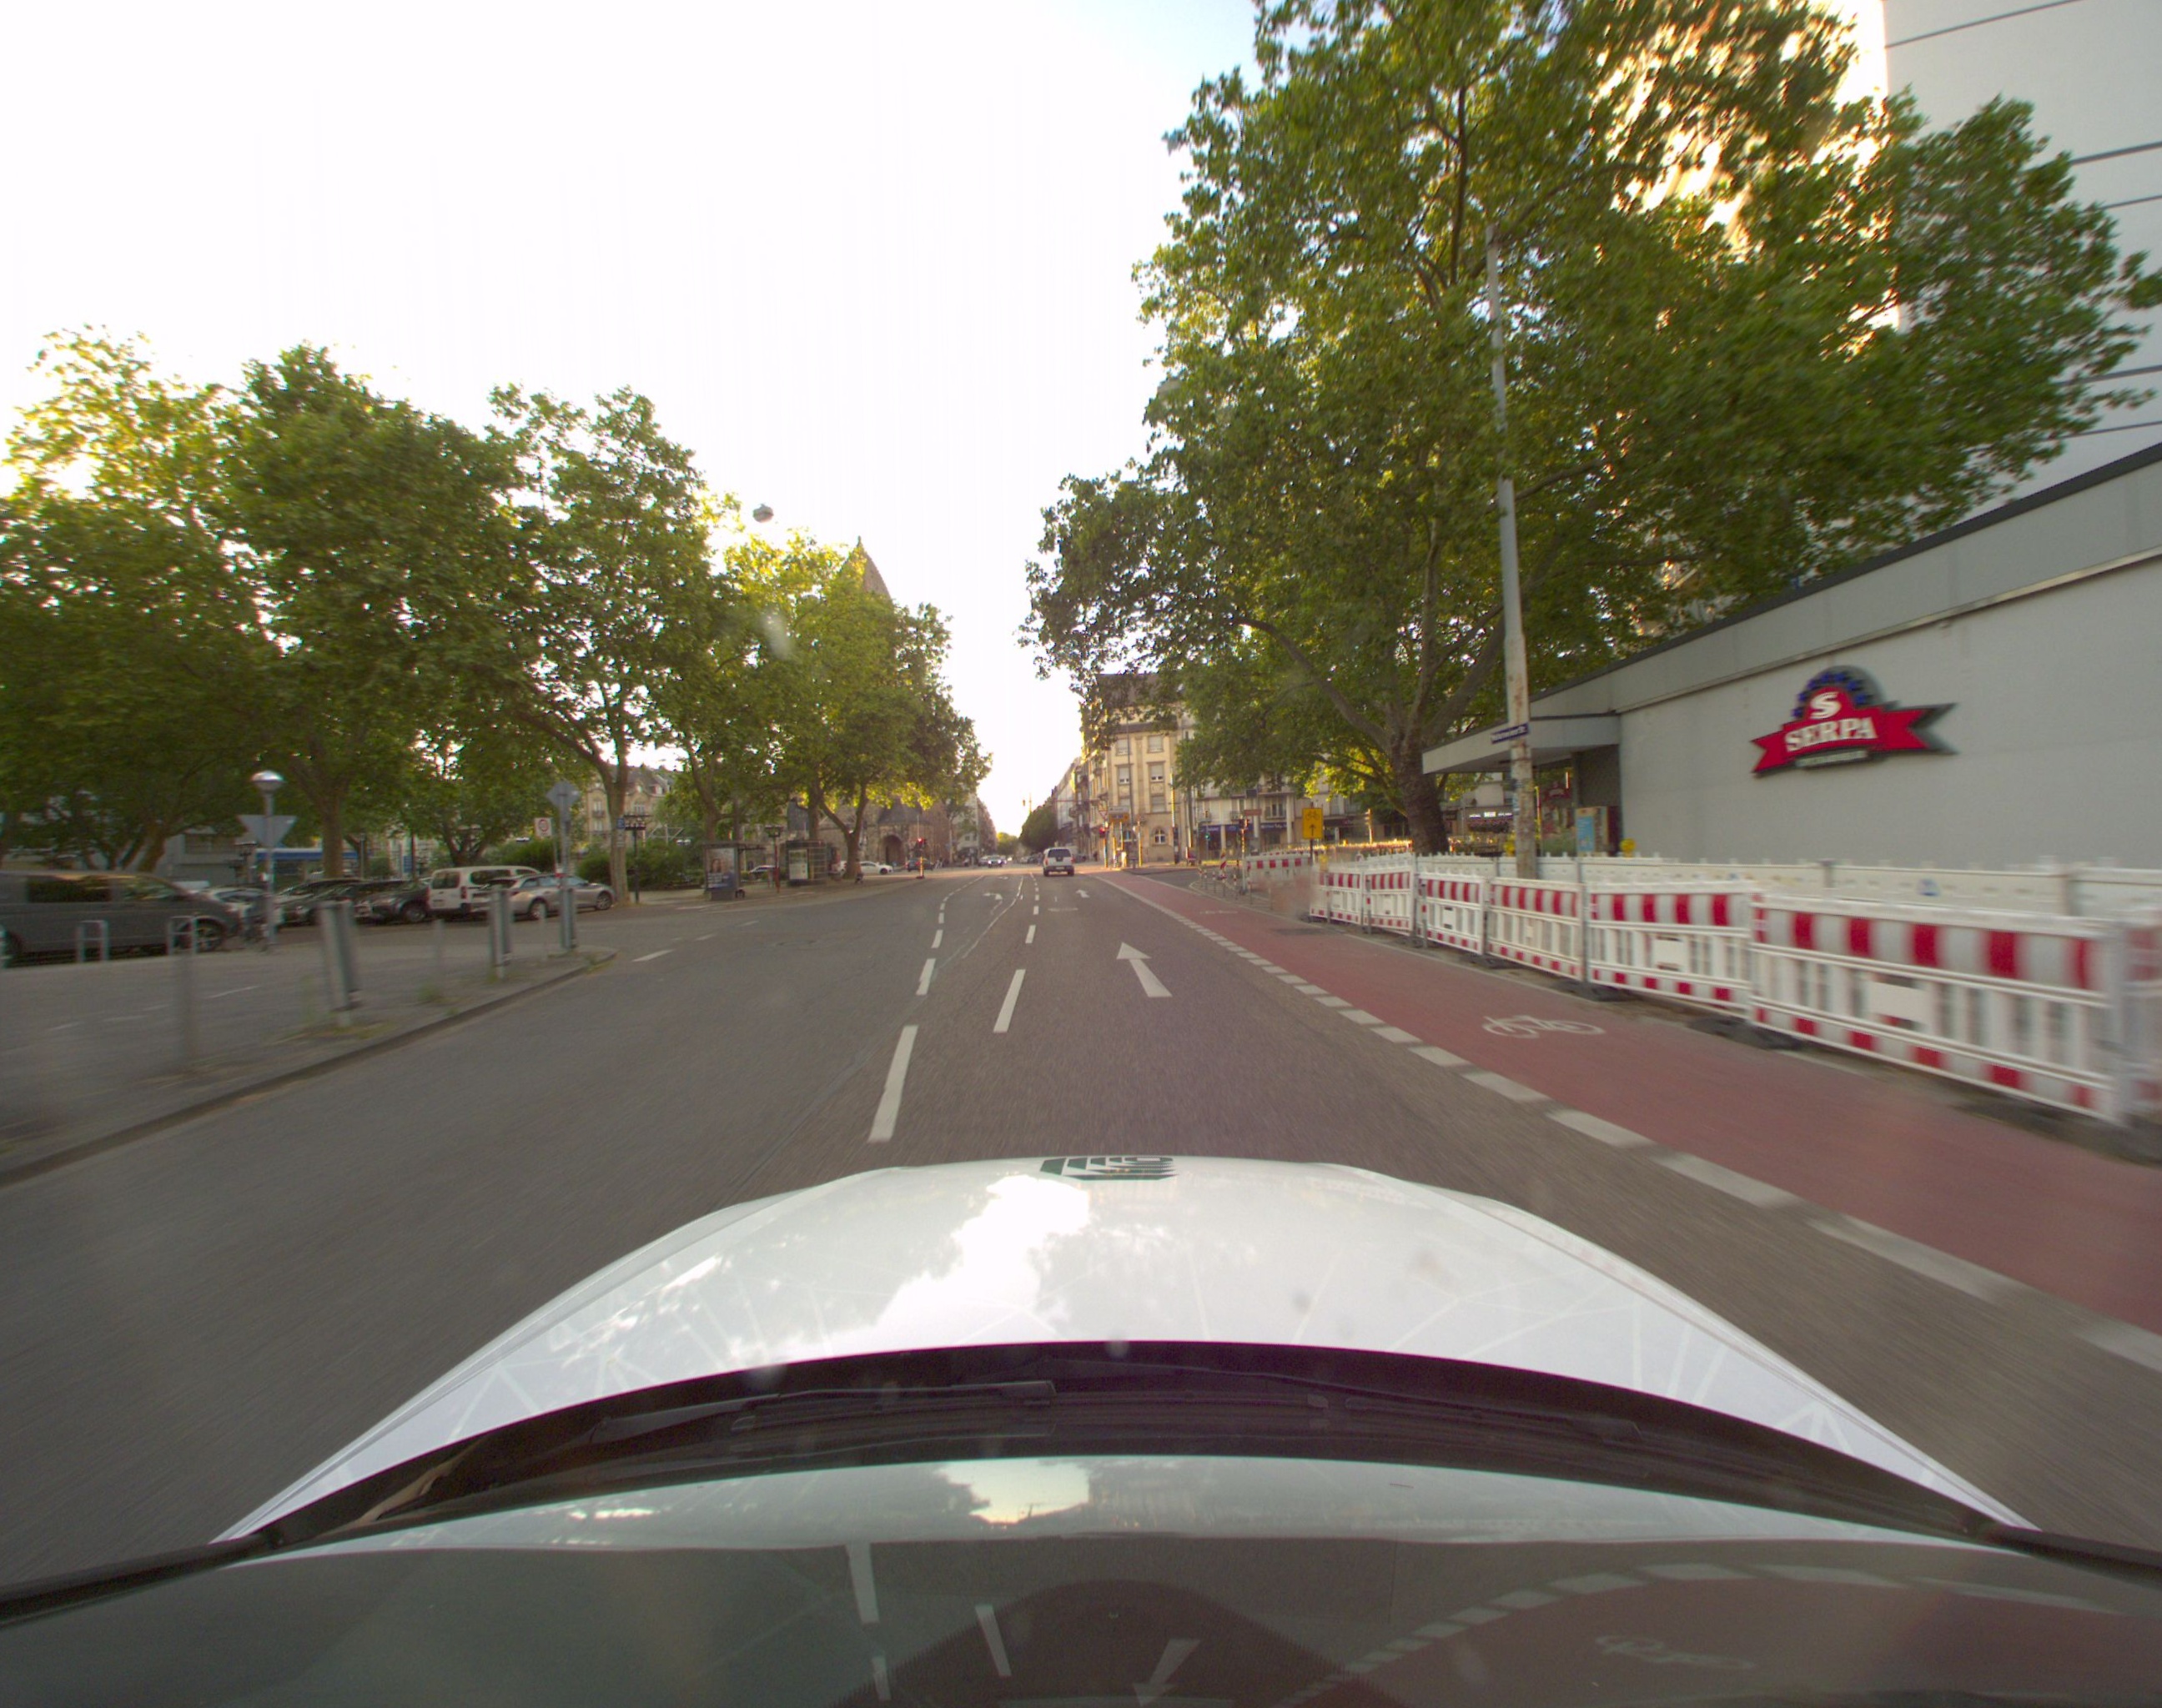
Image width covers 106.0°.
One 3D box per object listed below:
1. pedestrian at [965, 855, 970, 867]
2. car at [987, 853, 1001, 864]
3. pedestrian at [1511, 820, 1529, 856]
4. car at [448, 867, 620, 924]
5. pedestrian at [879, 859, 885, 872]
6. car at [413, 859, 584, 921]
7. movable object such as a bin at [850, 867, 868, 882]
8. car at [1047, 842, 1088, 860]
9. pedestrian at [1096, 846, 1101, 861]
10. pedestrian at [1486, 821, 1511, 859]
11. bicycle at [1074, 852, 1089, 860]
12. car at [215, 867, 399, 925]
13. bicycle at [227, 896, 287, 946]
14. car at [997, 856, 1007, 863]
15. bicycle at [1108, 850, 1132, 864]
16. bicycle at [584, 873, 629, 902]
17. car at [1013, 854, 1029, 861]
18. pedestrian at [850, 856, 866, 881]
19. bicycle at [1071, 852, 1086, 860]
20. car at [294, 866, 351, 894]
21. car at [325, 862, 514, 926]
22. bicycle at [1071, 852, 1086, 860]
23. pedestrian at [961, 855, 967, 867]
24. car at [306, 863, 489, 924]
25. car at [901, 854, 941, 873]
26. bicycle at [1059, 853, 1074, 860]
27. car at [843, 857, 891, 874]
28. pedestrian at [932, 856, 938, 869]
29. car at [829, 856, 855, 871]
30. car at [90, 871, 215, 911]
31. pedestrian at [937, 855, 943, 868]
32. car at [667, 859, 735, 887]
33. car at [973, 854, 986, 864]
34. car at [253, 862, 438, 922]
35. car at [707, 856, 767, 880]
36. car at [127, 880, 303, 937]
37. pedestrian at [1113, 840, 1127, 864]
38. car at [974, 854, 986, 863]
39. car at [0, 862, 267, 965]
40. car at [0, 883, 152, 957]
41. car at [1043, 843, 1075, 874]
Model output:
[{"bbox_3d":[-17.983,1.051,129.113,0.588,1.886,0.556,-2,0,22],"label":"pedestrian"},{"bbox_3d":[-12.614,0.659,118.294,1.781,1.651,3.810,-1,0,-9],"label":"car"},{"bbox_3d":[21.726,-0.796,40.312,0.709,1.758,0.666,-2,0,23],"label":"pedestrian"},{"bbox_3d":[-17.771,1.290,26.783,1.806,1.481,4.648,-2,1,12],"label":"car"},{"bbox_3d":[-25.327,1.454,103.629,0.553,1.584,0.549,-2,0,6],"label":"pedestrian"},{"bbox_3d":[-20.335,1.186,28.707,1.804,1.800,4.654,-2,1,18],"label":"car"},{"bbox_3d":[-14.270,1.332,52.351,0.733,0.890,0.986,-2,0,11],"label":"movable object such as a bin"},{"bbox_3d":[-1.880,-0.473,114.073,5.857,2.287,2.047,-3,0,-44],"label":"car"},{"bbox_3d":[2.249,-0.044,106.142,0.591,1.886,0.647,-2,0,1],"label":"pedestrian"},{"bbox_3d":[19.444,-0.643,37.919,0.662,1.758,0.713,-2,0,-17],"label":"pedestrian"},{"bbox_3d":[0.125,0.311,108.674,1.901,0.968,0.548,-2,0,13],"label":"bicycle"},{"bbox_3d":[-29.706,1.548,31.471,2.061,1.841,4.654,-2,1,19],"label":"car"},{"bbox_3d":[-18.324,1.477,18.105,1.801,1.042,0.483,-2,0,31],"label":"bicycle"},{"bbox_3d":[-17.243,1.287,178.144,1.993,1.506,3.810,-1,0,-9],"label":"car"},{"bbox_3d":[2.935,0.252,60.824,1.690,0.968,0.544,-2,0,-8],"label":"bicycle"},{"bbox_3d":[-19.339,1.365,33.228,0.397,1.073,1.603,-2,0,24],"label":"bicycle"},{"bbox_3d":[-16.295,0.898,220.795,3.983,1.815,1.995,-2,0,-7],"label":"car"},{"bbox_3d":[-14.585,0.947,53.269,0.733,1.629,0.688,-2,0,11],"label":"pedestrian"},{"bbox_3d":[-0.359,0.202,107.594,1.910,0.968,0.545,-2,0,-3],"label":"bicycle"},{"bbox_3d":[-67.427,2.302,72.423,4.288,2.260,1.941,-2,-1,20],"label":"car"},{"bbox_3d":[-22.938,1.316,28.500,2.061,1.841,4.654,-2,1,18],"label":"car"},{"bbox_3d":[-0.332,0.316,107.874,1.910,0.968,0.545,-2,0,-3],"label":"bicycle"},{"bbox_3d":[-18.613,1.061,129.325,0.588,1.886,0.588,-2,0,23],"label":"pedestrian"},{"bbox_3d":[-24.853,1.385,29.876,2.061,1.841,4.654,-2,1,18],"label":"car"},{"bbox_3d":[-17.694,1.000,90.266,2.060,1.841,4.656,-2,1,21],"label":"car"},{"bbox_3d":[-1.945,0.341,109.054,1.910,0.968,0.545,-2,0,-3],"label":"bicycle"},{"bbox_3d":[-21.818,1.159,83.116,4.634,1.530,1.991,-2,0,-13],"label":"car"},{"bbox_3d":[-21.033,1.195,117.636,0.588,1.886,0.557,-2,0,26],"label":"pedestrian"},{"bbox_3d":[-34.376,1.349,117.109,1.692,1.909,3.514,-2,0,22],"label":"car"},{"bbox_3d":[-59.418,2.299,52.262,1.977,2.292,4.869,-2,-1,18],"label":"car"},{"bbox_3d":[-20.343,1.066,117.522,0.648,1.886,0.589,-2,0,26],"label":"pedestrian"},{"bbox_3d":[-29.659,1.466,63.735,2.060,1.841,4.656,-2,1,21],"label":"car"},{"bbox_3d":[-17.479,0.833,139.971,1.993,1.651,3.810,-1,0,-9],"label":"car"},{"bbox_3d":[-27.343,1.358,30.509,2.061,1.841,4.654,-2,1,18],"label":"car"},{"bbox_3d":[-29.963,1.182,71.073,2.060,1.841,4.656,-2,1,21],"label":"car"},{"bbox_3d":[-26.172,1.634,24.657,3.956,1.519,2.009,-2,0,16],"label":"car"},{"bbox_3d":[2.924,-0.173,61.323,0.797,1.768,0.717,-2,0,-18],"label":"pedestrian"},{"bbox_3d":[-18.320,0.847,147.656,1.993,1.651,3.810,-1,0,-9],"label":"car"},{"bbox_3d":[-21.527,1.219,17.800,1.977,1.973,4.870,-2,-1,19],"label":"car"},{"bbox_3d":[-25.804,1.609,19.391,2.026,1.595,4.359,-2,0,18],"label":"car"},{"bbox_3d":[-1.397,0.283,51.733,1.861,1.815,3.997,-3,0,-2],"label":"car"}]
